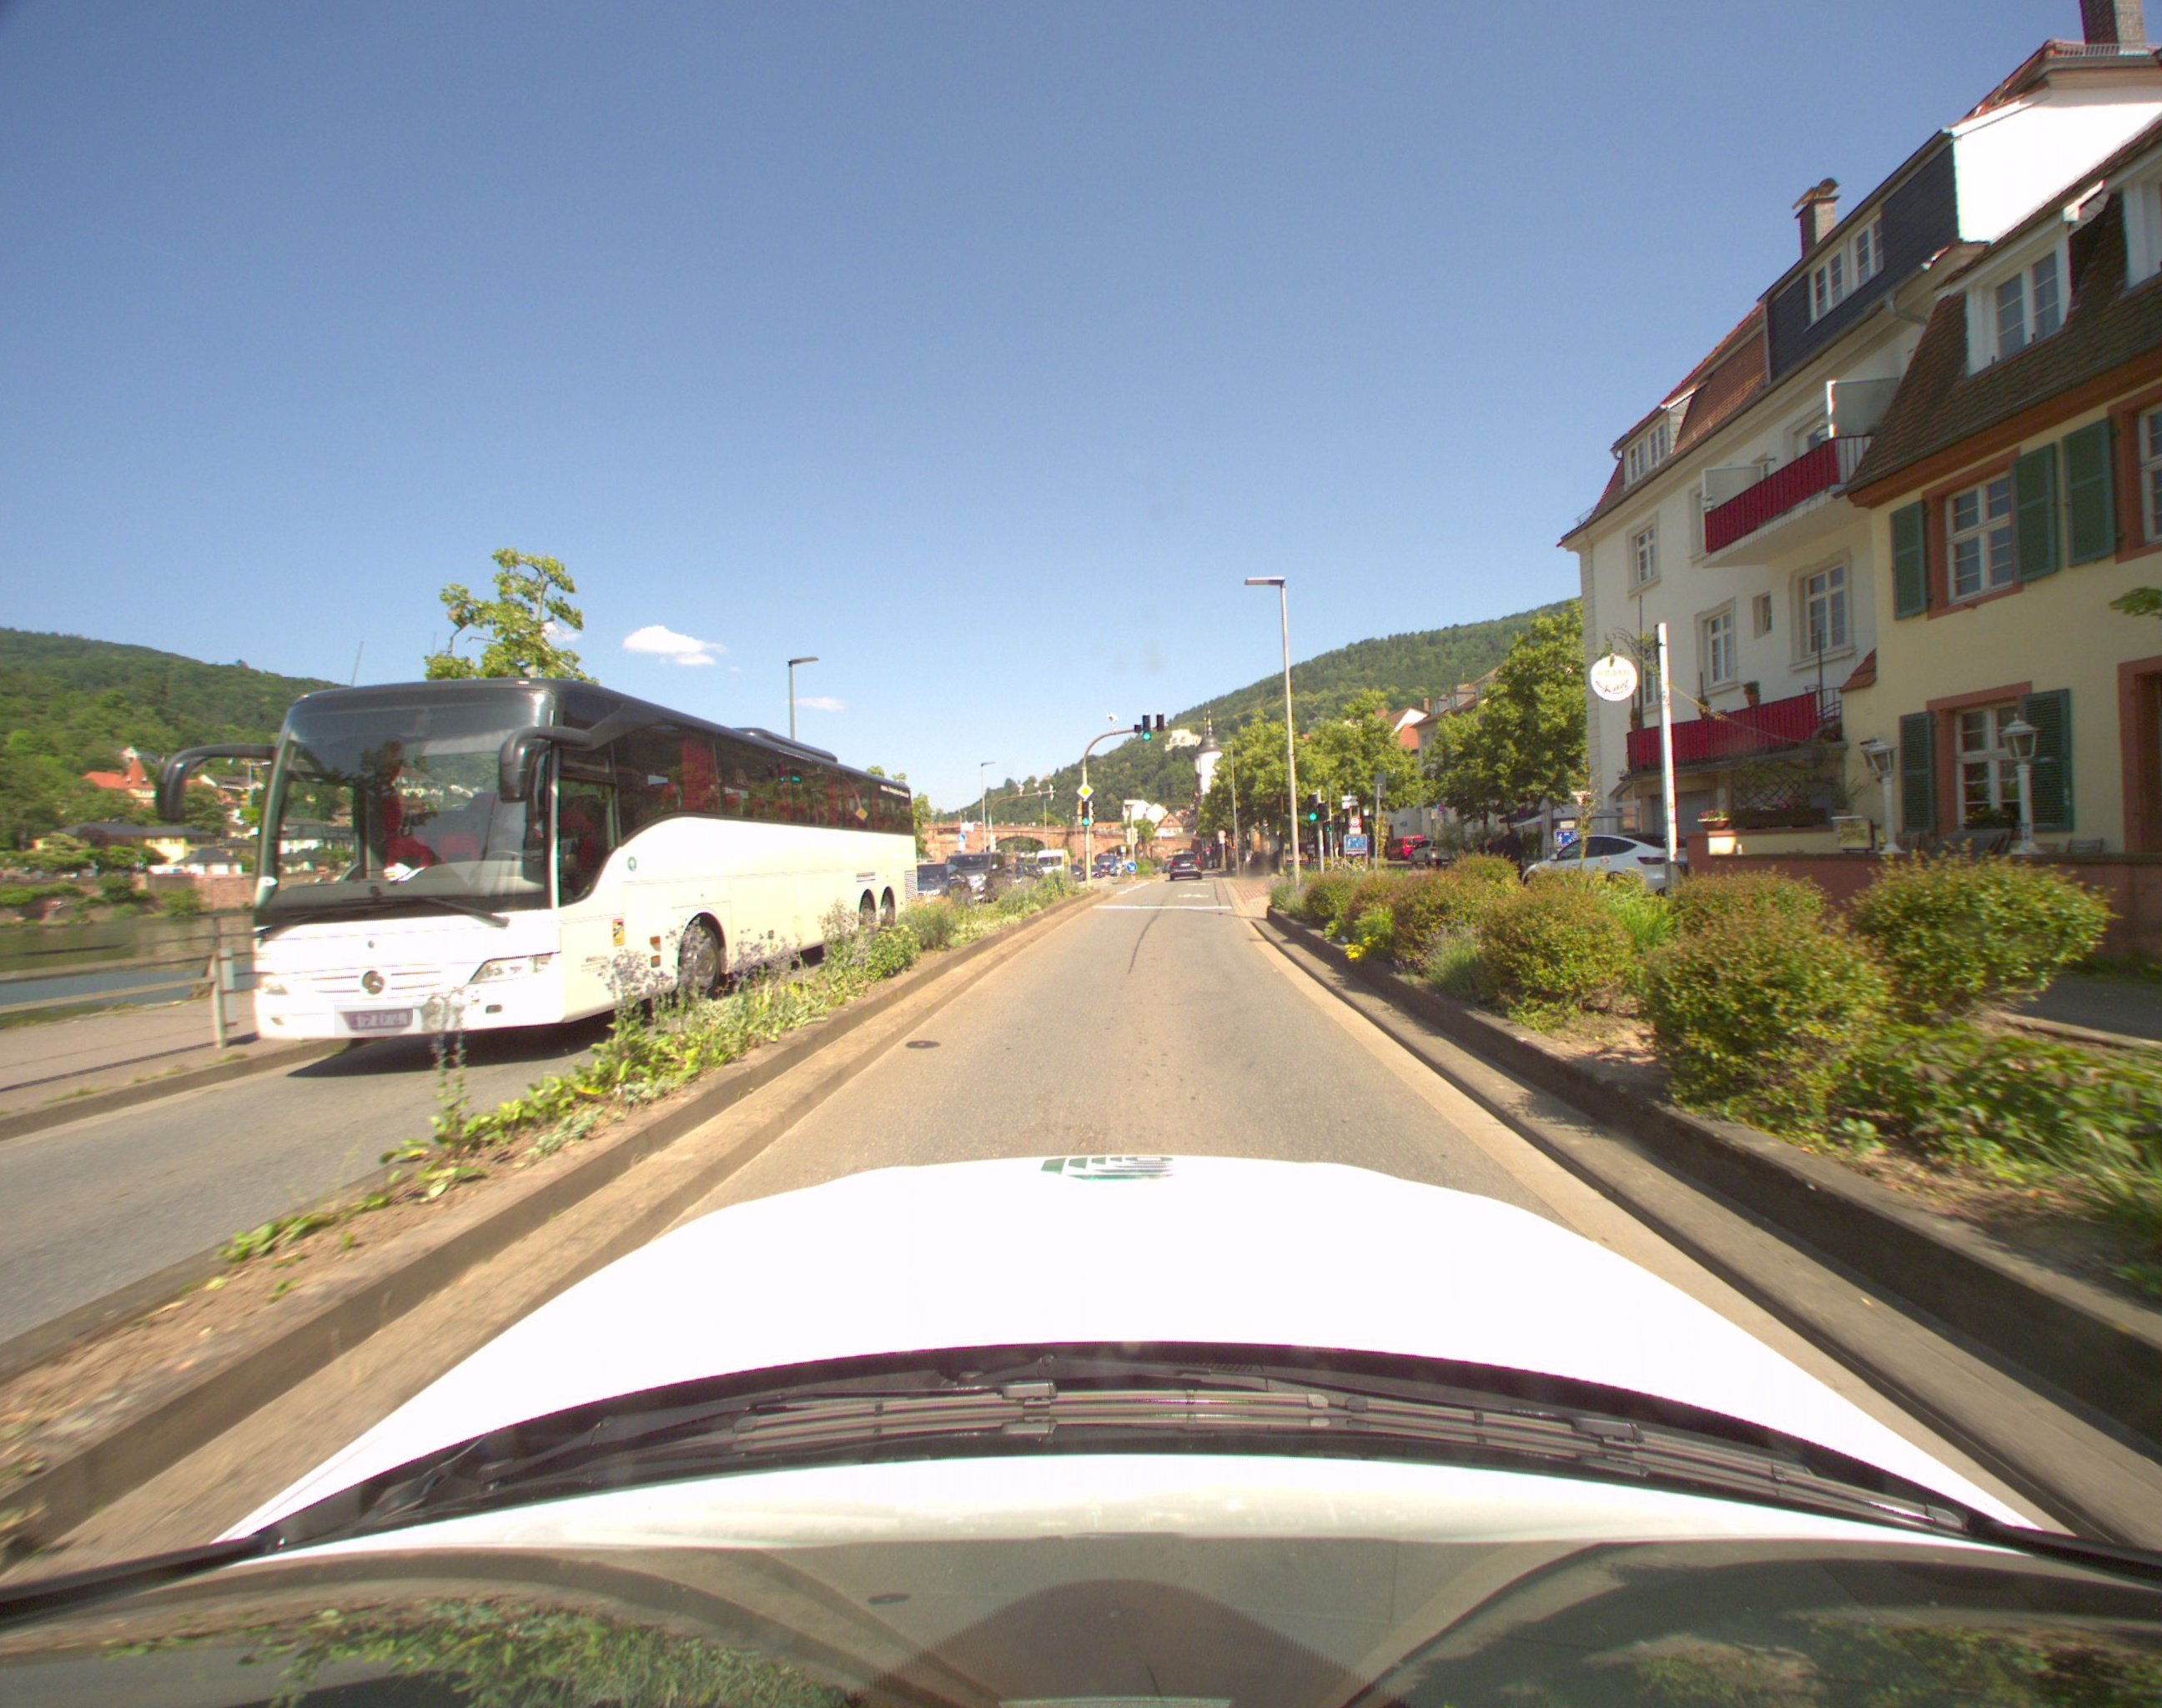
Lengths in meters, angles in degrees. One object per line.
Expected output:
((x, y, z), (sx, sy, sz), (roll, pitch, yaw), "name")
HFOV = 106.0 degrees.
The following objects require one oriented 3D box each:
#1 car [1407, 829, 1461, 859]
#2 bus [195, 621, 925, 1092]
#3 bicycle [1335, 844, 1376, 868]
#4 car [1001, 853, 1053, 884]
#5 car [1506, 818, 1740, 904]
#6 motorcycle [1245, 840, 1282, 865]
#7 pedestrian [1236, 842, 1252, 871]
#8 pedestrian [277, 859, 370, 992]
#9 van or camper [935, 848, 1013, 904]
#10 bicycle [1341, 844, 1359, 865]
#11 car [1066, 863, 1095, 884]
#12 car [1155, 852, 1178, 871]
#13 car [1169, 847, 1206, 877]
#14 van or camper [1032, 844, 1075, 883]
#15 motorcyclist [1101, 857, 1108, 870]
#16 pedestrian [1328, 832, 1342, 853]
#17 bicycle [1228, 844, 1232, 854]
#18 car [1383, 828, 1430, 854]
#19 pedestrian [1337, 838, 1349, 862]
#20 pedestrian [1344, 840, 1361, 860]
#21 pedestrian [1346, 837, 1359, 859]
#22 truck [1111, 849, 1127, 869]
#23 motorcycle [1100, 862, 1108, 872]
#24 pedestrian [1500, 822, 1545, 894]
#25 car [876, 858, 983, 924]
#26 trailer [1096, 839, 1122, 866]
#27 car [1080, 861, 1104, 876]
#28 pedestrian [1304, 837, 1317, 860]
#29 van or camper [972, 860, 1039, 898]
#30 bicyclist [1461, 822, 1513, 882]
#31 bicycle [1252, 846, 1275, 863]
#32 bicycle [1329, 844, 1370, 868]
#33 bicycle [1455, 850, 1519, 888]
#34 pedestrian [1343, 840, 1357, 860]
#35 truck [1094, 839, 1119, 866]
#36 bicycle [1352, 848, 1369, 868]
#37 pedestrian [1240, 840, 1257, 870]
((22.189, -0.609, 51.340), (1.760, 1.728, 4.576), (-3, 0, 6), "car")
((-5.354, 0.086, 12.877), (2.621, 3.564, 12.989), (-3, -1, 2), "bus")
((14.555, 0.112, 43.220), (1.995, 1.198, 0.524), (-1, 0, 18), "bicycle")
((-2.848, 0.742, 44.032), (1.942, 1.408, 4.578), (-5, 0, 6), "car")
((11.726, 0.133, 18.116), (1.873, 1.577, 4.723), (-2, 0, -2), "car")
((11.866, -0.080, 53.029), (0.769, 1.465, 2.270), (-3, -2, -43), "motorcycle")
((9.916, 0.162, 49.572), (0.692, 1.677, 0.764), (-5, 0, -2), "pedestrian")
((-10.517, 0.966, 11.326), (0.618, 1.780, 0.662), (-2, 0, -2), "pedestrian")
((-4.038, 0.776, 31.675), (1.985, 1.873, 5.183), (-4, 0, 3), "van or camper")
((14.764, 0.037, 44.641), (0.588, 1.067, 2.077), (-4, -1, 25), "bicycle")
((0.004, 1.544, 66.501), (1.809, 1.455, 4.937), (-5, 0, 6), "car")
((8.179, 0.678, 77.776), (1.983, 1.553, 4.841), (-3, 0, 6), "car")
((5.997, 0.510, 46.320), (1.917, 1.553, 4.838), (0, -3, 5), "car")
((-1.874, 0.674, 57.072), (1.983, 2.450, 5.504), (-5, -1, 7), "van or camper")
((2.738, 1.124, 96.638), (0.733, 1.470, 1.012), (-3, 0, 2), "motorcyclist")
((24.118, -1.094, 77.327), (0.963, 1.915, 0.749), (-4, 0, 7), "pedestrian")
((15.771, -0.519, 86.328), (0.249, 1.096, 1.491), (-1, 0, 6), "bicycle")
((25.356, -1.006, 63.588), (1.984, 1.902, 4.639), (-3, 0, 4), "car")
((16.646, -0.259, 51.747), (0.457, 1.517, 0.690), (-2, 0, -1), "pedestrian")
((16.813, -0.245, 50.477), (0.692, 1.252, 0.764), (-3, 0, -2), "pedestrian")
((17.097, -0.381, 51.362), (0.624, 1.382, 0.541), (-1, 0, -2), "pedestrian")
((6.939, 0.878, 149.248), (2.646, 3.403, 5.140), (-3, 0, 4), "truck")
((2.744, 1.544, 96.663), (0.754, 1.131, 2.457), (-3, 0, 3), "motorcycle")
((11.887, 0.116, 21.940), (0.759, 1.858, 0.609), (-5, 0, -2), "pedestrian")
((-4.503, 1.024, 25.069), (1.986, 1.598, 5.160), (-6, 0, 2), "car")
((3.902, -0.237, 112.027), (2.644, 3.403, 8.843), (-3, 0, 7), "trailer")
((1.212, 1.503, 85.961), (1.942, 1.412, 4.226), (-5, -2, 7), "car")
((17.116, -0.428, 60.767), (0.704, 1.653, 0.708), (-3, 0, 6), "pedestrian")
((-3.377, 1.081, 37.392), (1.983, 1.476, 5.074), (-4, -1, 6), "van or camper")
((11.256, -0.054, 22.610), (0.765, 1.583, 1.087), (-3, 0, -6), "bicyclist")
((12.638, 0.037, 56.320), (1.479, 1.120, 0.251), (-4, -1, 0), "bicycle")
((14.116, 0.106, 42.823), (1.982, 1.198, 0.524), (-1, 1, 18), "bicycle")
((11.264, 0.409, 22.666), (0.748, 0.964, 1.779), (-2, 0, -5), "bicycle")
((17.212, -0.236, 52.042), (0.624, 1.281, 0.753), (-1, 0, -2), "pedestrian")
((3.394, -0.240, 107.598), (2.644, 3.403, 4.458), (-3, 0, 6), "truck")
((15.204, 0.224, 44.341), (0.588, 1.067, 2.077), (-4, -2, 25), "bicycle")
((10.096, 0.053, 49.051), (0.692, 1.771, 0.764), (-5, 0, -2), "pedestrian")
